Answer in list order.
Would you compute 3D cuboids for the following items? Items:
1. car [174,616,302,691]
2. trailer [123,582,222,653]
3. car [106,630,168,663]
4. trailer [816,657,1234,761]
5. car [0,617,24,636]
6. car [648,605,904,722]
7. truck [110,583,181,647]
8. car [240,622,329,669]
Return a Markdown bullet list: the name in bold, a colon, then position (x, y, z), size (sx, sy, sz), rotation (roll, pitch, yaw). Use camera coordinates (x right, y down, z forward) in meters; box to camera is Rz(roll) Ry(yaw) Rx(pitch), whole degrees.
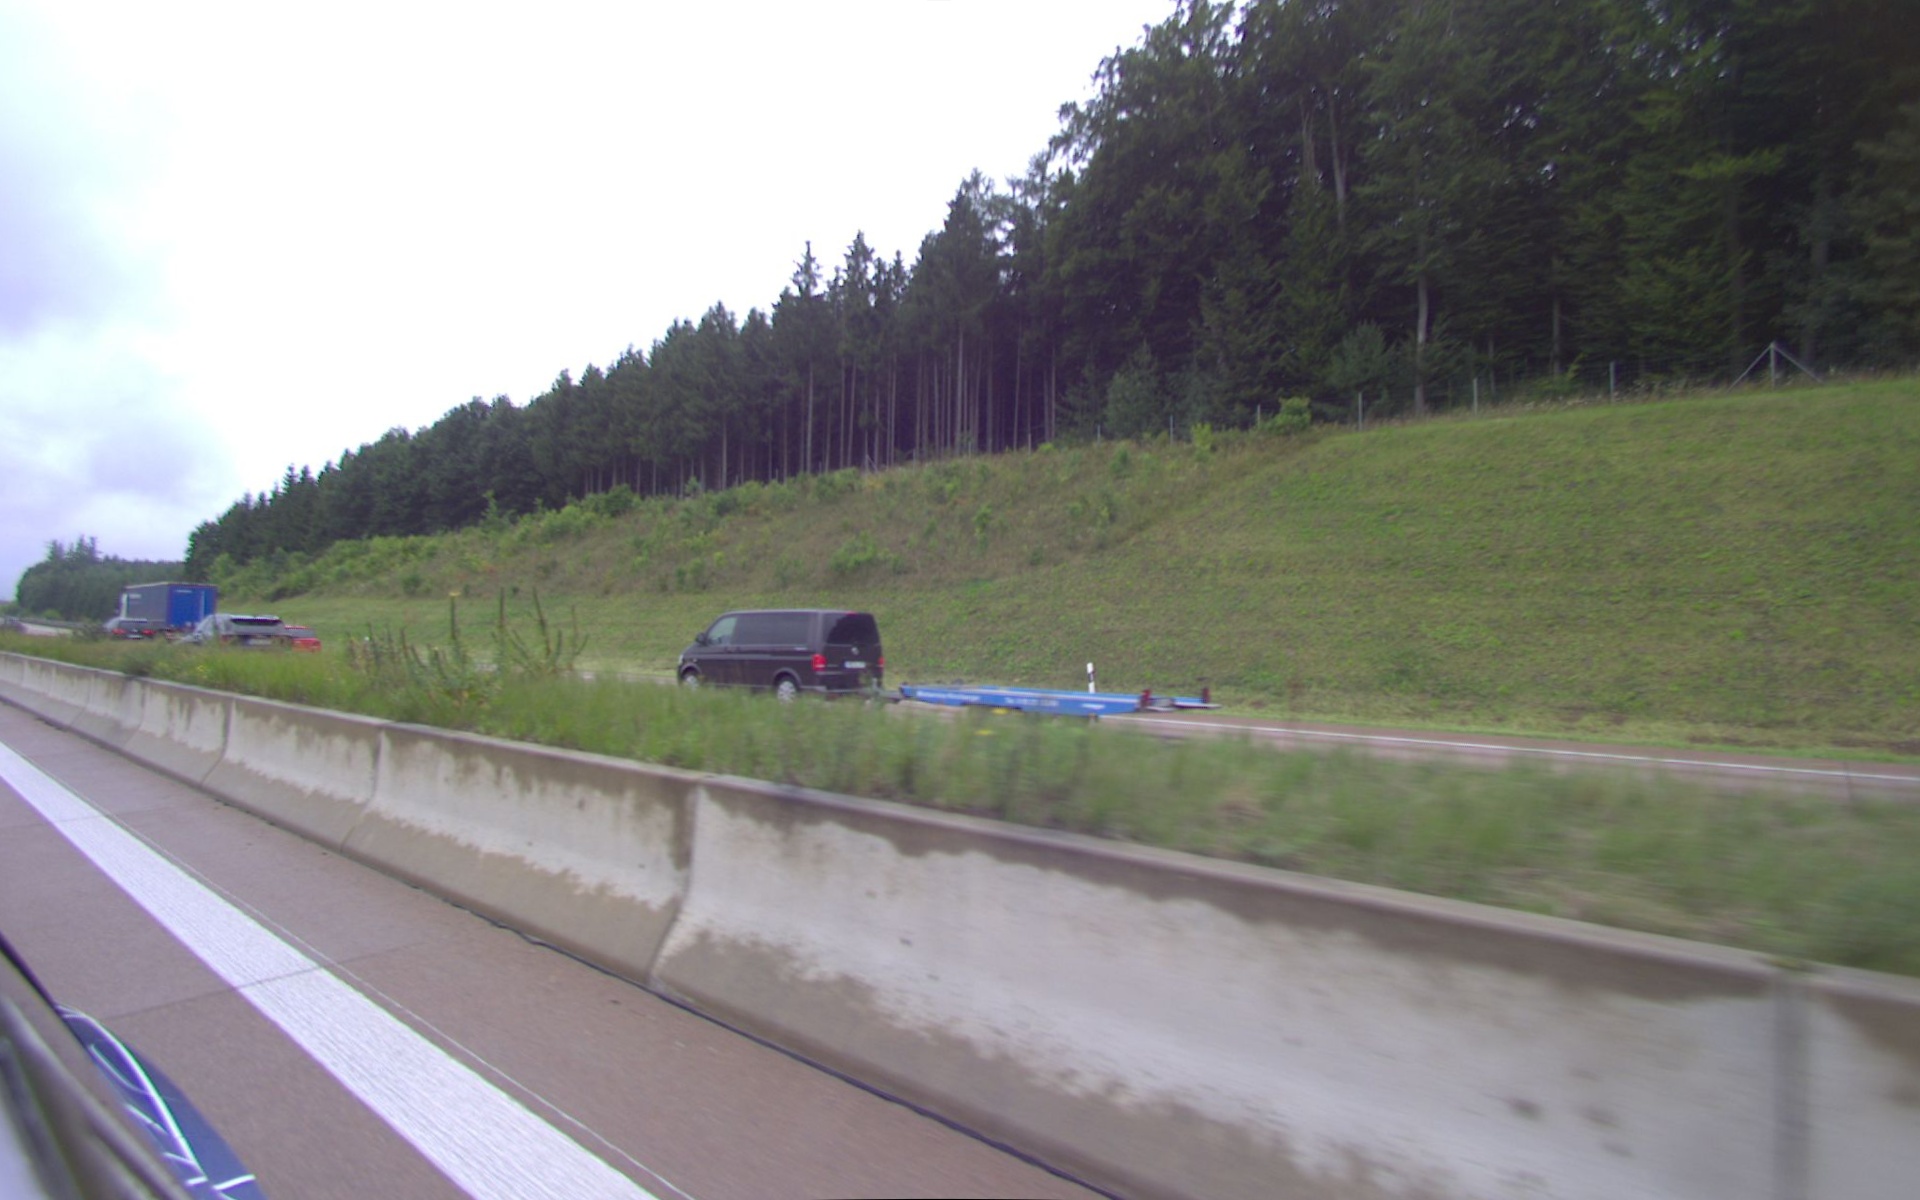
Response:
- **car**: position (-19.654, 1.364, 27.472), size (4.938, 1.793, 1.870), rotation (0, 0, 43)
- **trailer**: position (-53.144, 1.061, 68.070), size (13.576, 4.372, 2.888), rotation (0, 0, 42)
- **car**: position (-46.206, 2.583, 56.811), size (5.093, 1.780, 1.972), rotation (-2, -2, 42)
- **trailer**: position (0.749, 1.602, 16.341), size (6.848, 1.005, 2.182), rotation (0, 0, 41)
- **car**: position (-96.909, 2.663, 102.861), size (6.382, 1.705, 2.027), rotation (0, 0, 42)
- **car**: position (-3.845, 1.128, 20.319), size (5.671, 2.029, 1.973), rotation (0, 0, 41)
- **truck**: position (-59.397, 1.092, 73.727), size (7.401, 4.423, 2.893), rotation (-1, 0, 42)
- **car**: position (-24.793, 1.632, 37.113), size (4.115, 1.540, 1.708), rotation (0, 0, 41)
